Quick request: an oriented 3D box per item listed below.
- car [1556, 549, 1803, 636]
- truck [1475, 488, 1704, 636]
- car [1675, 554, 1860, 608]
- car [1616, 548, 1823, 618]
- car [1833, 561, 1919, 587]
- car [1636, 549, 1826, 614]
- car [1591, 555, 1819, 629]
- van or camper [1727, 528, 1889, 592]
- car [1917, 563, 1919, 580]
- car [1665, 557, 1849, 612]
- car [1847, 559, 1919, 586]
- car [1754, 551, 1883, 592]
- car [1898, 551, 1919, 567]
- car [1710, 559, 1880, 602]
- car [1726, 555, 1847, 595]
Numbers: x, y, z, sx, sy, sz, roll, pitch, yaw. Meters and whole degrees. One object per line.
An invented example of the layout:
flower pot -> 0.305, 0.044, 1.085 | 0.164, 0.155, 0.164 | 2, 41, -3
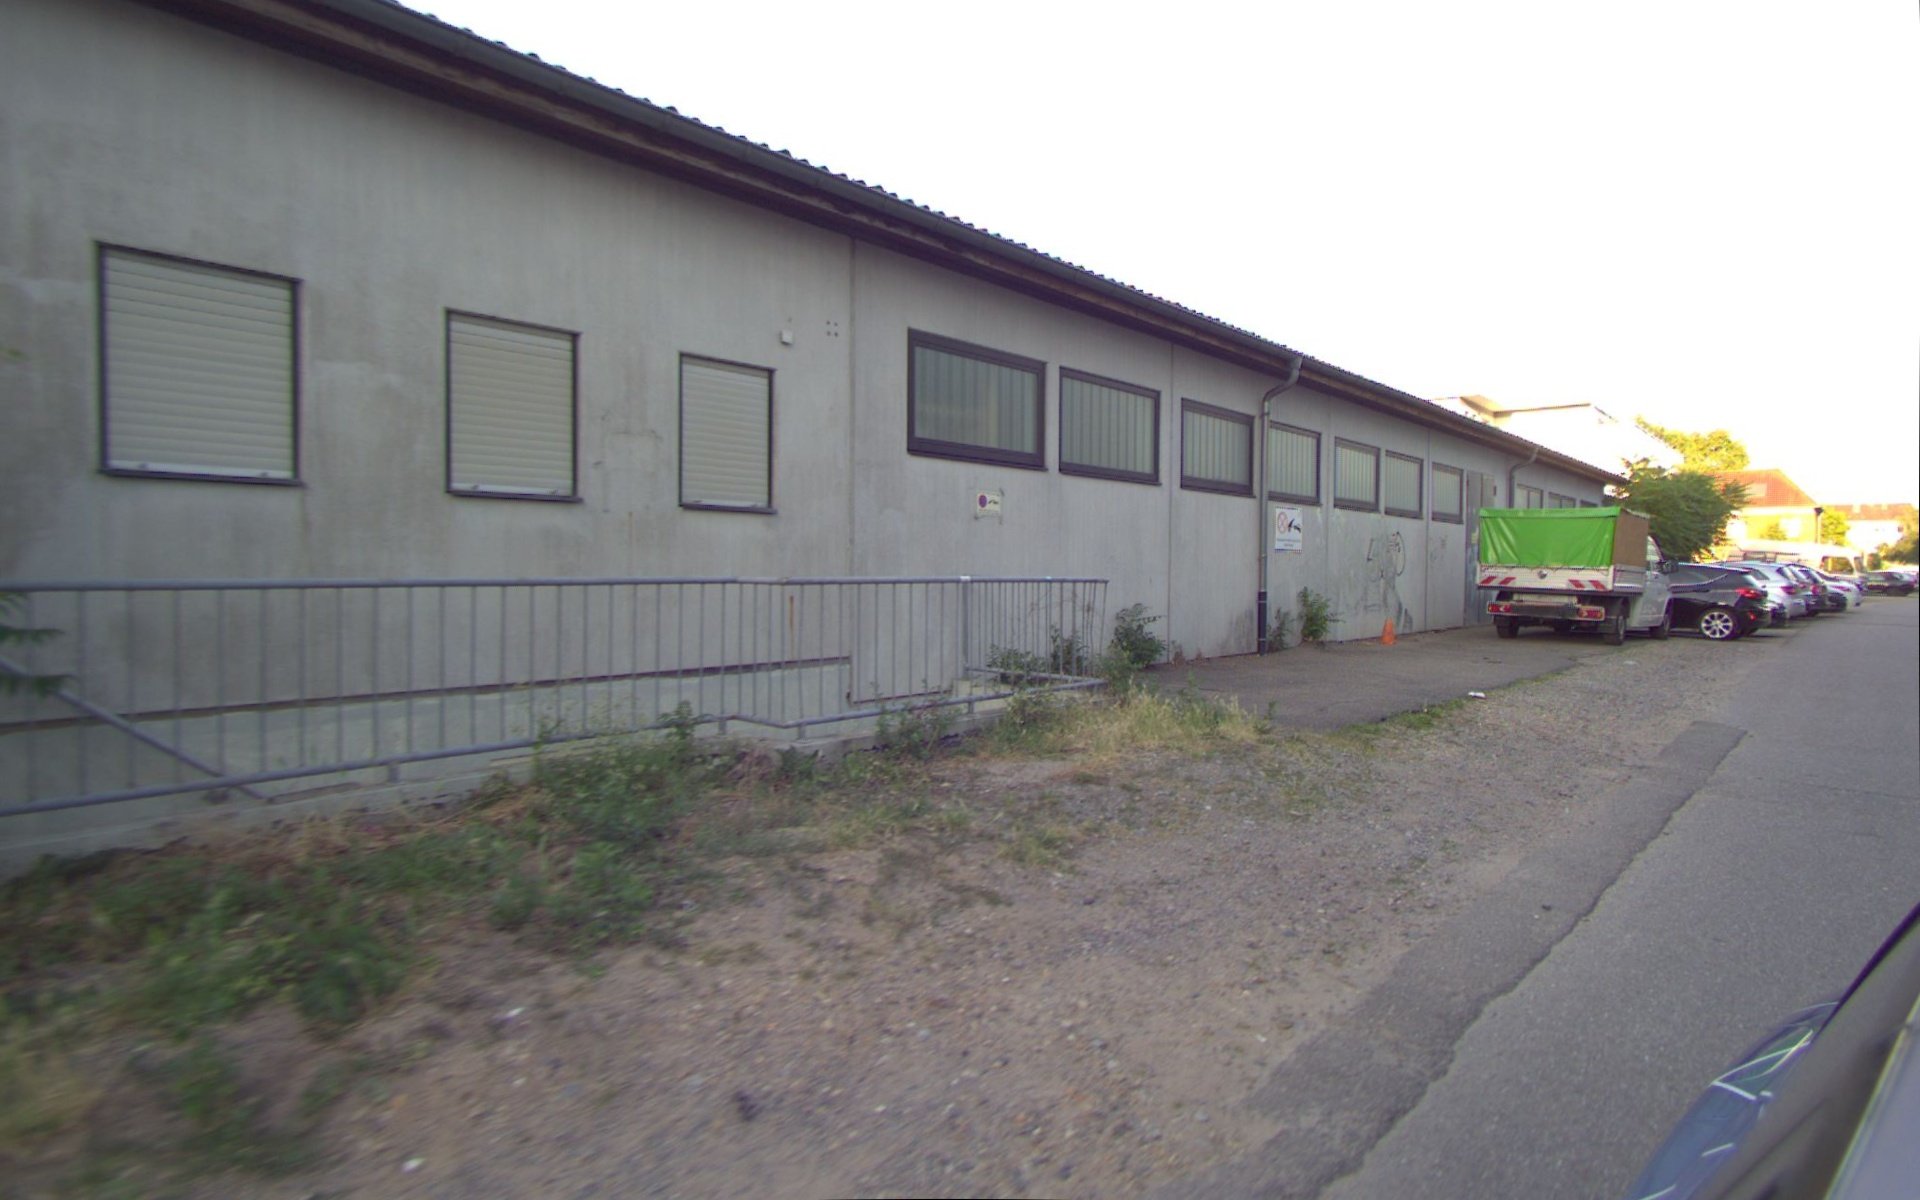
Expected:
car -> 14.399, -0.202, 20.391 | 1.859, 1.554, 3.765 | -3, 3, -42
truck -> 11.291, -0.621, 17.941 | 5.617, 2.227, 2.100 | 0, 2, -44
car -> 24.712, -0.602, 31.072 | 1.858, 1.521, 4.209 | -3, 3, -41
car -> 19.213, -0.447, 25.708 | 1.907, 1.629, 3.986 | -2, 2, -44
car -> 52.550, -1.511, 57.506 | 1.866, 1.349, 4.318 | -2, 4, -45
car -> 21.000, -0.510, 27.651 | 3.983, 1.639, 1.799 | 1, 2, 44
car -> 16.140, -0.213, 22.035 | 1.815, 1.462, 3.762 | -2, 3, -44
van or camper -> 41.434, -2.017, 49.588 | 2.447, 2.898, 5.786 | -2, 4, -44
car -> 85.711, -2.461, 89.288 | 1.765, 1.481, 4.302 | 3, 3, 42
car -> 22.986, -0.484, 29.288 | 1.797, 1.463, 3.988 | -3, 3, -43
car -> 54.458, -1.573, 58.951 | 4.059, 1.424, 1.866 | 5, 4, 45
car -> 39.854, -1.360, 47.069 | 1.932, 1.762, 4.253 | -1, 4, -38
car -> 91.114, -3.899, 96.944 | 1.765, 1.481, 4.302 | 3, 3, 42
car -> 28.295, -0.678, 34.392 | 1.791, 1.384, 4.211 | -1, 2, -40
car -> 34.311, -1.066, 42.062 | 1.684, 1.497, 3.708 | -1, 4, -45
